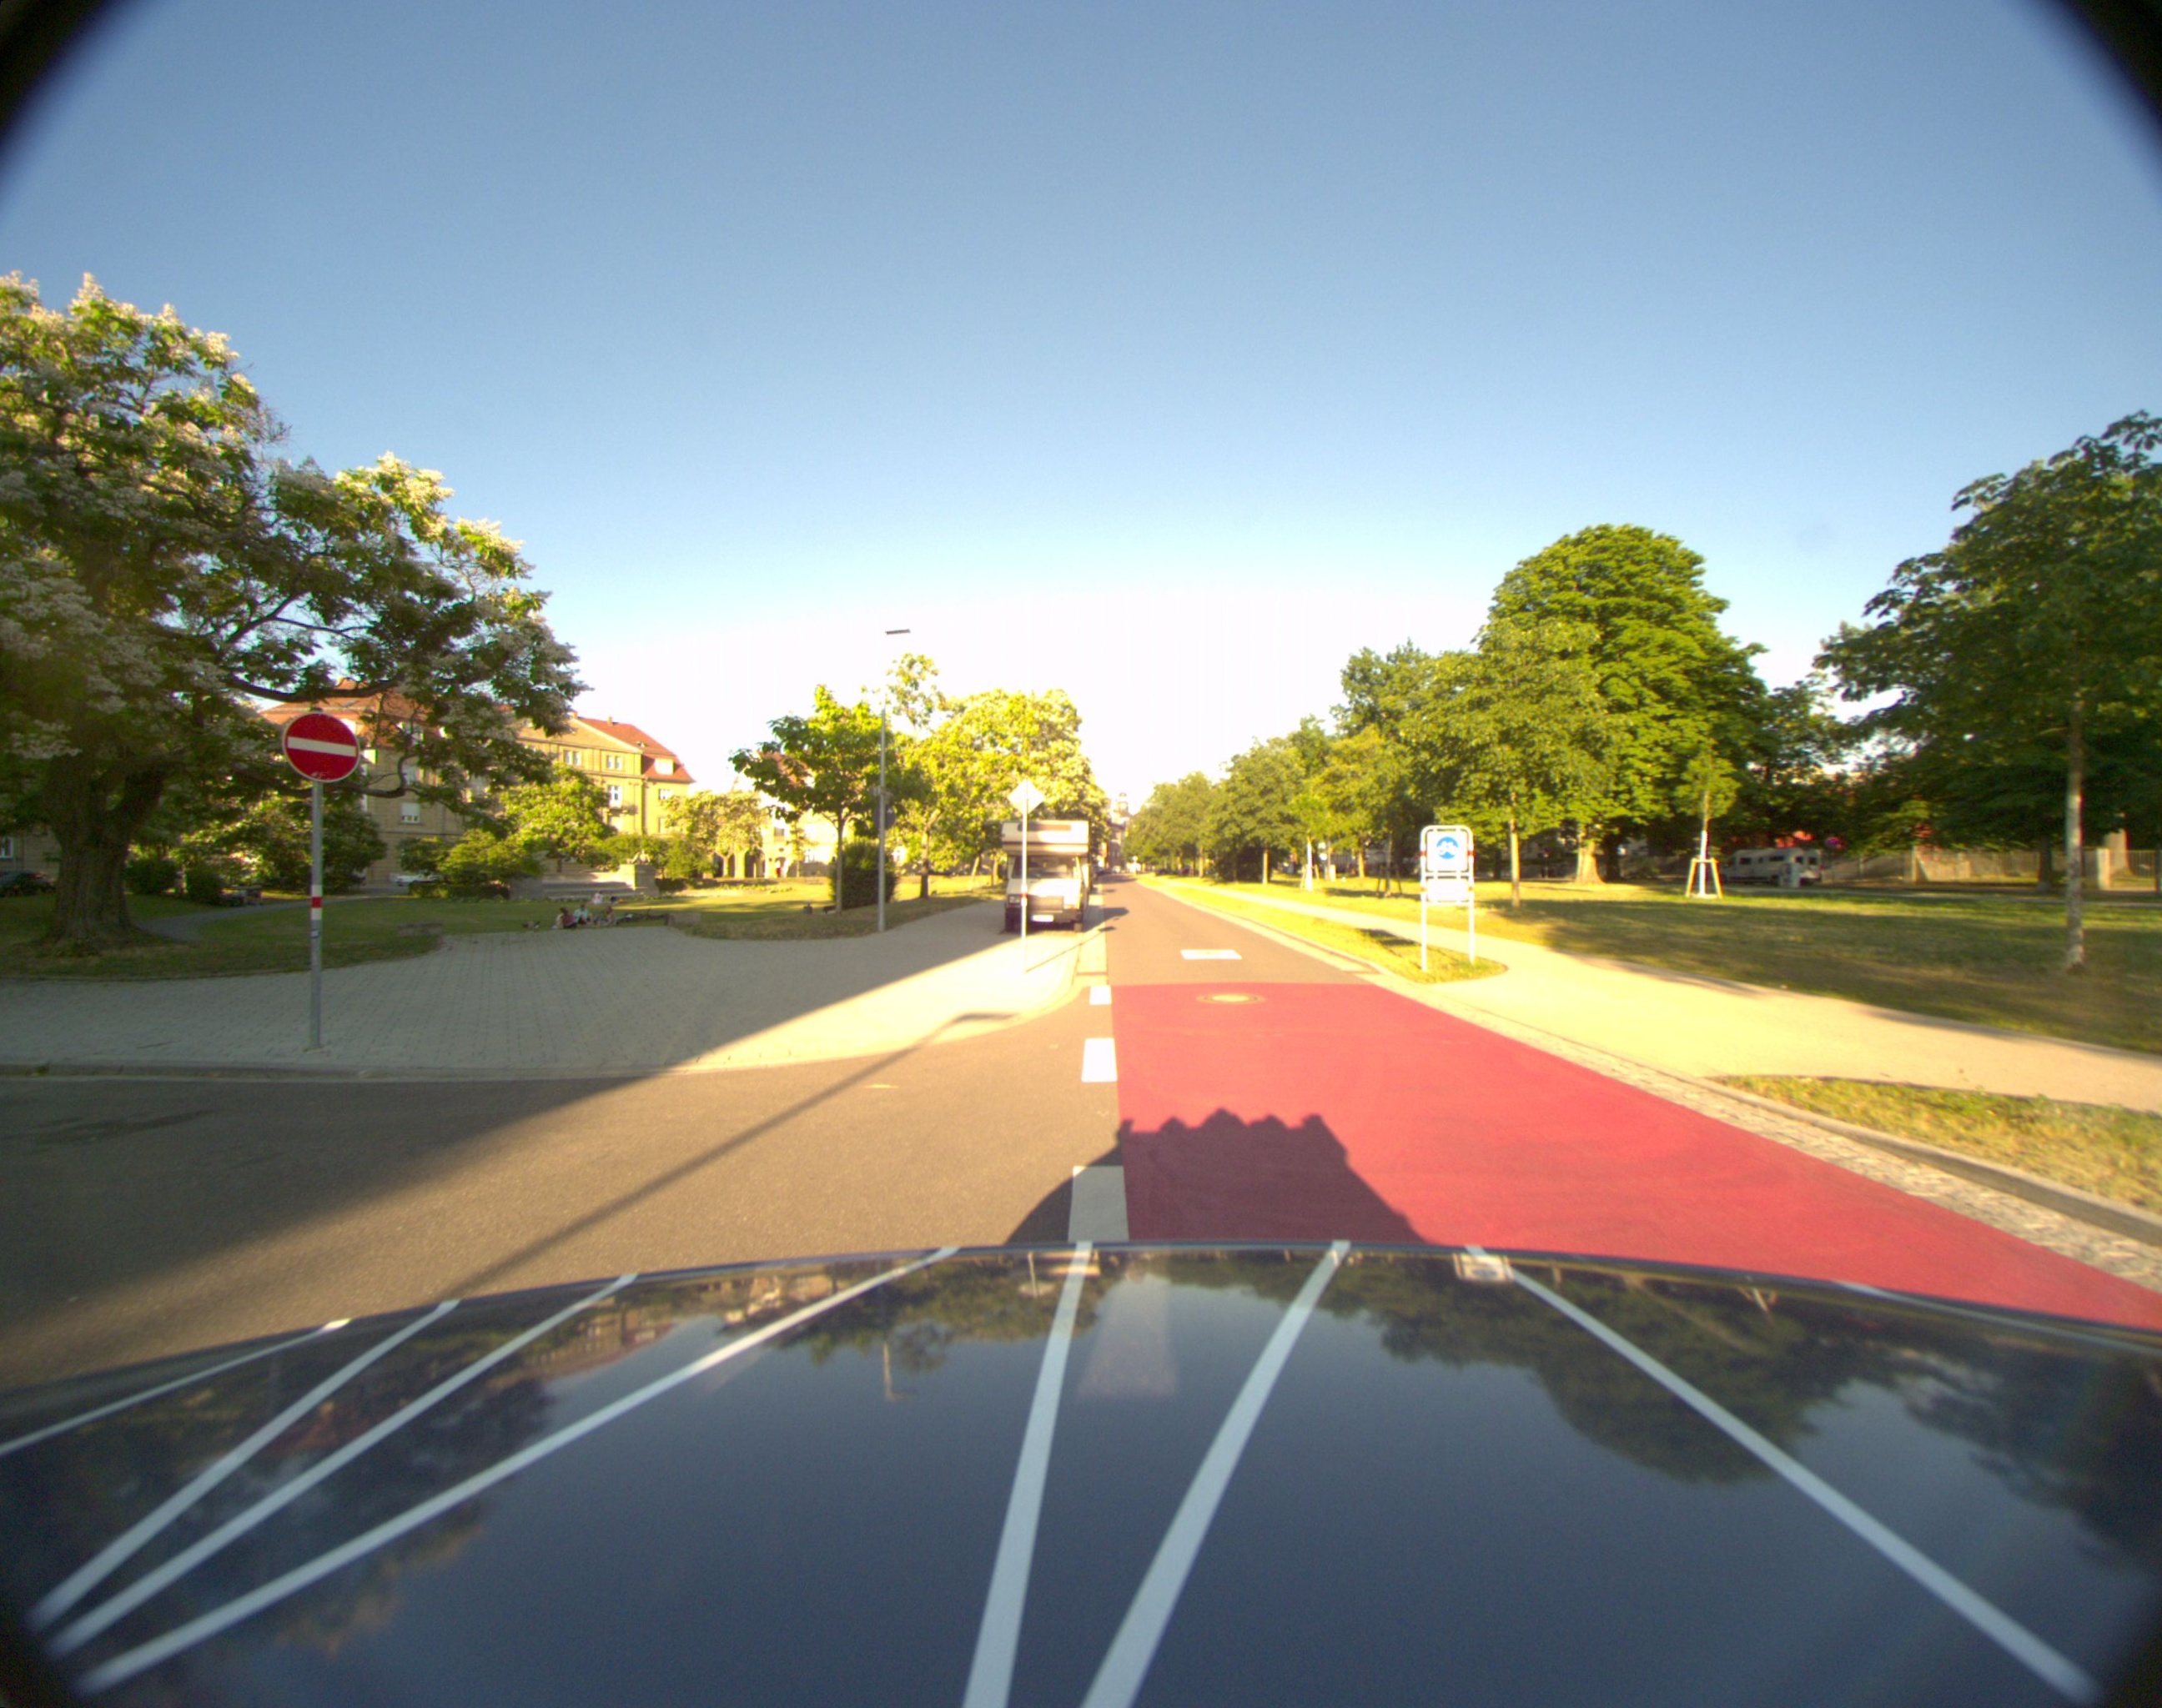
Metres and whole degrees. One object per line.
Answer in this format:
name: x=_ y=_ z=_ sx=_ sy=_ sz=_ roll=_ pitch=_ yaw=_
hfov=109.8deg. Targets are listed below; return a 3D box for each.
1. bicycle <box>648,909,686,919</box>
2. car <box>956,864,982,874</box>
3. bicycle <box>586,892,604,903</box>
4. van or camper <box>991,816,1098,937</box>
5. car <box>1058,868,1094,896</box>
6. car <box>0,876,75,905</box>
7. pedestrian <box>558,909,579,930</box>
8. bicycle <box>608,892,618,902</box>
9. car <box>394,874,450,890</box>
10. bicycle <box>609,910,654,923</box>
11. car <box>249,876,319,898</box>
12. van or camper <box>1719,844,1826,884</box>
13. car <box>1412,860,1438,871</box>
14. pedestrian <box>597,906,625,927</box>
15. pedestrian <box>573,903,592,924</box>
bicycle: x=-18.703 y=2.718 z=34.358 sx=0.659 sy=0.317 sz=1.704 roll=0 pitch=-1 yaw=4
car: x=-17.788 y=2.361 z=120.631 sx=3.707 sy=1.490 sz=1.724 roll=-1 pitch=-1 yaw=-17
bicycle: x=-30.538 y=2.720 z=47.787 sx=0.907 sy=0.648 sz=0.438 roll=-1 pitch=0 yaw=-37
van or camper: x=-0.835 y=0.547 z=20.773 sx=2.427 sy=2.766 sz=5.953 roll=2 pitch=0 yaw=0
car: x=-0.231 y=1.622 z=45.321 sx=1.998 sy=1.501 sz=4.001 roll=-1 pitch=-1 yaw=1
car: x=-57.917 y=2.006 z=41.580 sx=1.728 sy=1.489 sz=3.699 roll=0 pitch=-2 yaw=-21
pedestrian: x=-19.315 y=2.462 z=28.646 sx=0.498 sy=0.742 sz=0.454 roll=-1 pitch=0 yaw=-3
bicycle: x=-29.853 y=2.751 z=48.424 sx=0.488 sy=0.579 sz=0.438 roll=-1 pitch=0 yaw=-37
car: x=-61.855 y=2.614 z=71.367 sx=1.724 sy=1.489 sz=3.708 roll=-1 pitch=-2 yaw=8
bicycle: x=-19.060 y=2.649 z=32.270 sx=0.659 sy=0.380 sz=1.933 roll=0 pitch=-1 yaw=4
car: x=-63.296 y=2.626 z=60.455 sx=1.776 sy=1.574 sz=3.997 roll=-1 pitch=-1 yaw=-10
van or camper: x=45.564 y=0.654 z=50.275 sx=1.998 sy=2.425 sz=5.467 roll=-3 pitch=-1 yaw=0
car: x=46.905 y=1.569 z=103.679 sx=1.796 sy=1.455 sz=4.001 roll=-1 pitch=-1 yaw=1
pedestrian: x=-18.347 y=2.443 z=29.656 sx=0.497 sy=0.760 sz=0.812 roll=-1 pitch=-2 yaw=41
pedestrian: x=-20.246 y=2.407 z=30.855 sx=0.453 sy=0.830 sz=0.499 roll=-1 pitch=0 yaw=35
